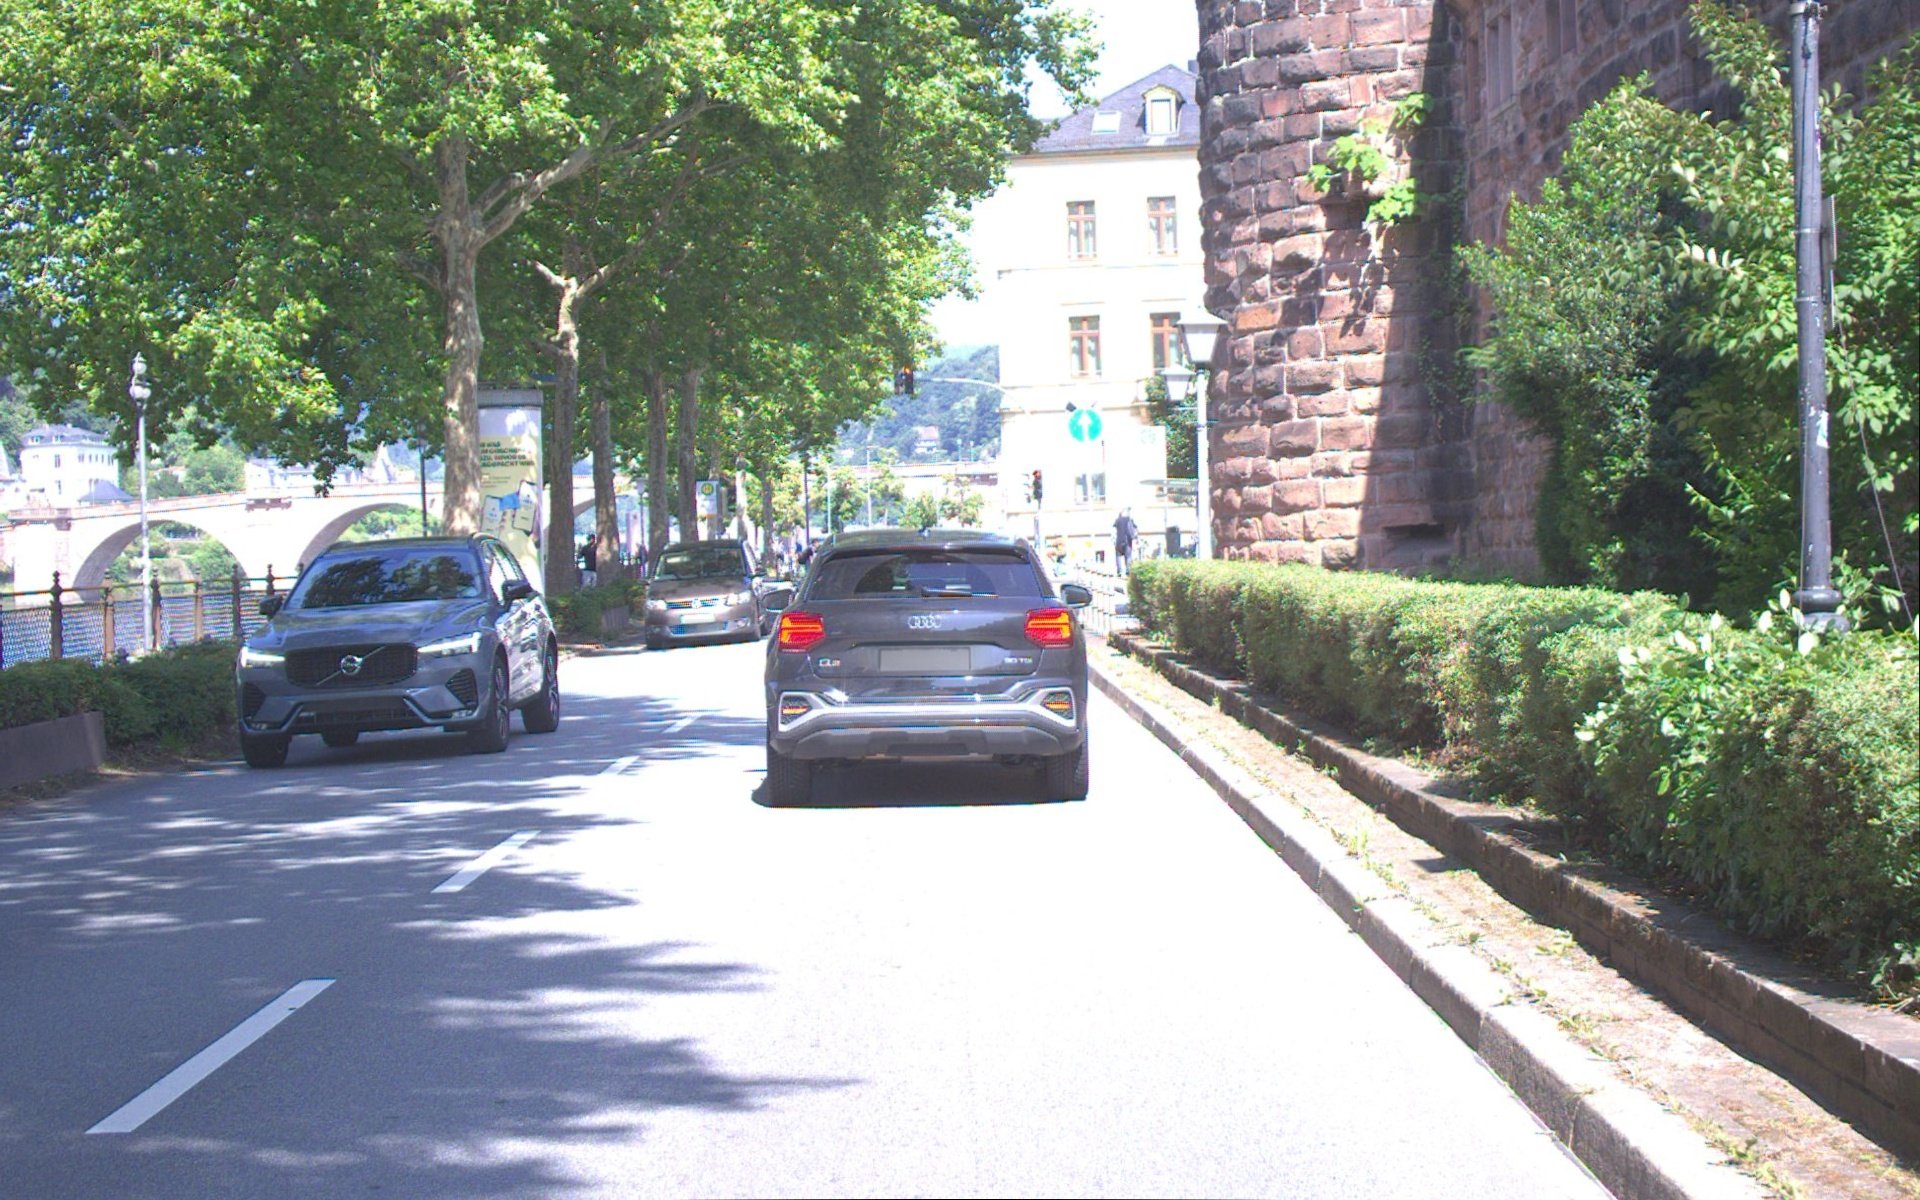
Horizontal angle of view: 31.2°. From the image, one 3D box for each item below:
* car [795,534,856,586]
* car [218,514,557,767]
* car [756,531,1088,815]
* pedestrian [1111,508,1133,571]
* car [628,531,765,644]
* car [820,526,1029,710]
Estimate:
[{"bbox_3d":[-4.182,-1.252,107.360,1.615,1.518,3.476,-3,1,2],"label":"car"},{"bbox_3d":[-4.277,0.244,26.335,1.877,1.692,4.259,-3,1,-1],"label":"car"},{"bbox_3d":[-0.239,0.350,19.934,1.748,1.489,3.629,0,1,-1],"label":"car"},{"bbox_3d":[4.246,-1.585,90.095,0.557,1.627,0.660,0,1,1],"label":"pedestrian"},{"bbox_3d":[-4.120,-0.231,54.261,1.763,1.642,4.090,-3,1,0],"label":"car"},{"bbox_3d":[-0.303,0.127,32.509,1.801,1.557,3.716,-3,1,0],"label":"car"}]
